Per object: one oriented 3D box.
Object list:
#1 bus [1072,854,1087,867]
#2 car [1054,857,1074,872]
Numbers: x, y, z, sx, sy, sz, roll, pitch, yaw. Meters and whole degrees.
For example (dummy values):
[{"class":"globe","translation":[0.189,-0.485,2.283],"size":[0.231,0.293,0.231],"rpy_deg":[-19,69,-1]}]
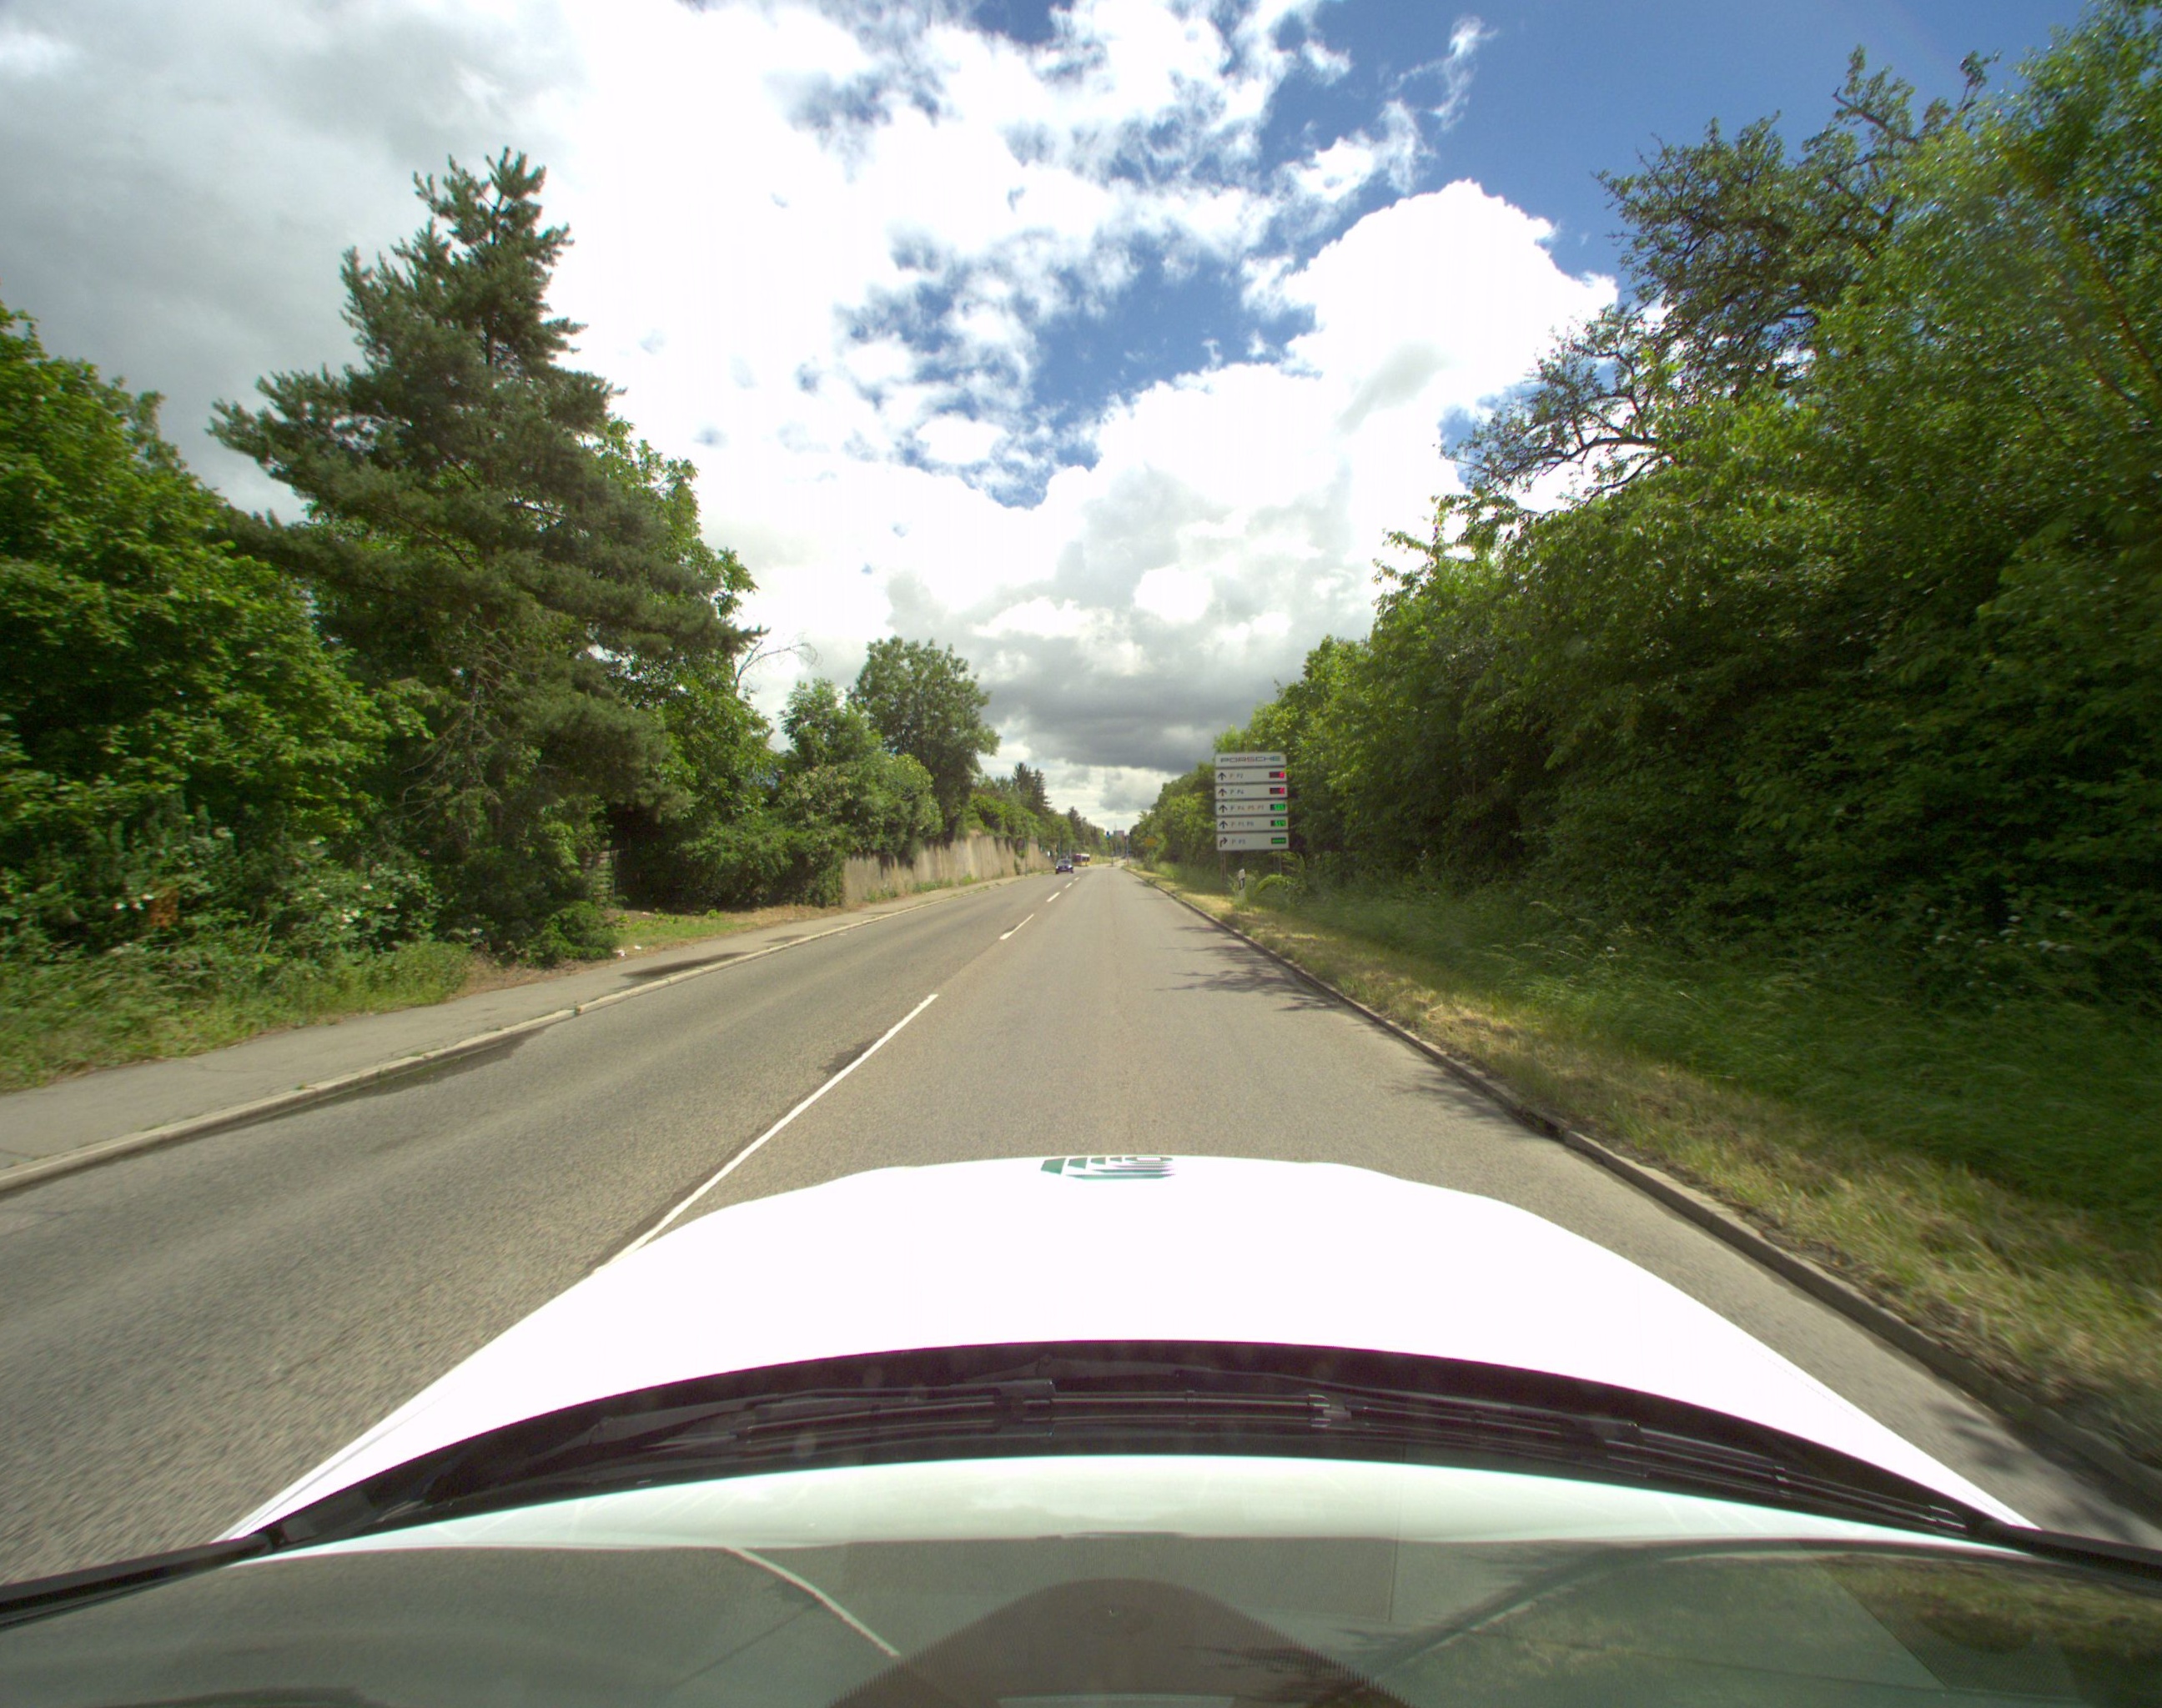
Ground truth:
[{"class":"bus","translation":[-0.305,1.566,200.620],"size":[2.881,2.899,7.678],"rpy_deg":[0,1,5]},{"class":"car","translation":[-1.674,1.043,81.826],"size":[1.745,1.464,4.001],"rpy_deg":[-3,0,1]}]
